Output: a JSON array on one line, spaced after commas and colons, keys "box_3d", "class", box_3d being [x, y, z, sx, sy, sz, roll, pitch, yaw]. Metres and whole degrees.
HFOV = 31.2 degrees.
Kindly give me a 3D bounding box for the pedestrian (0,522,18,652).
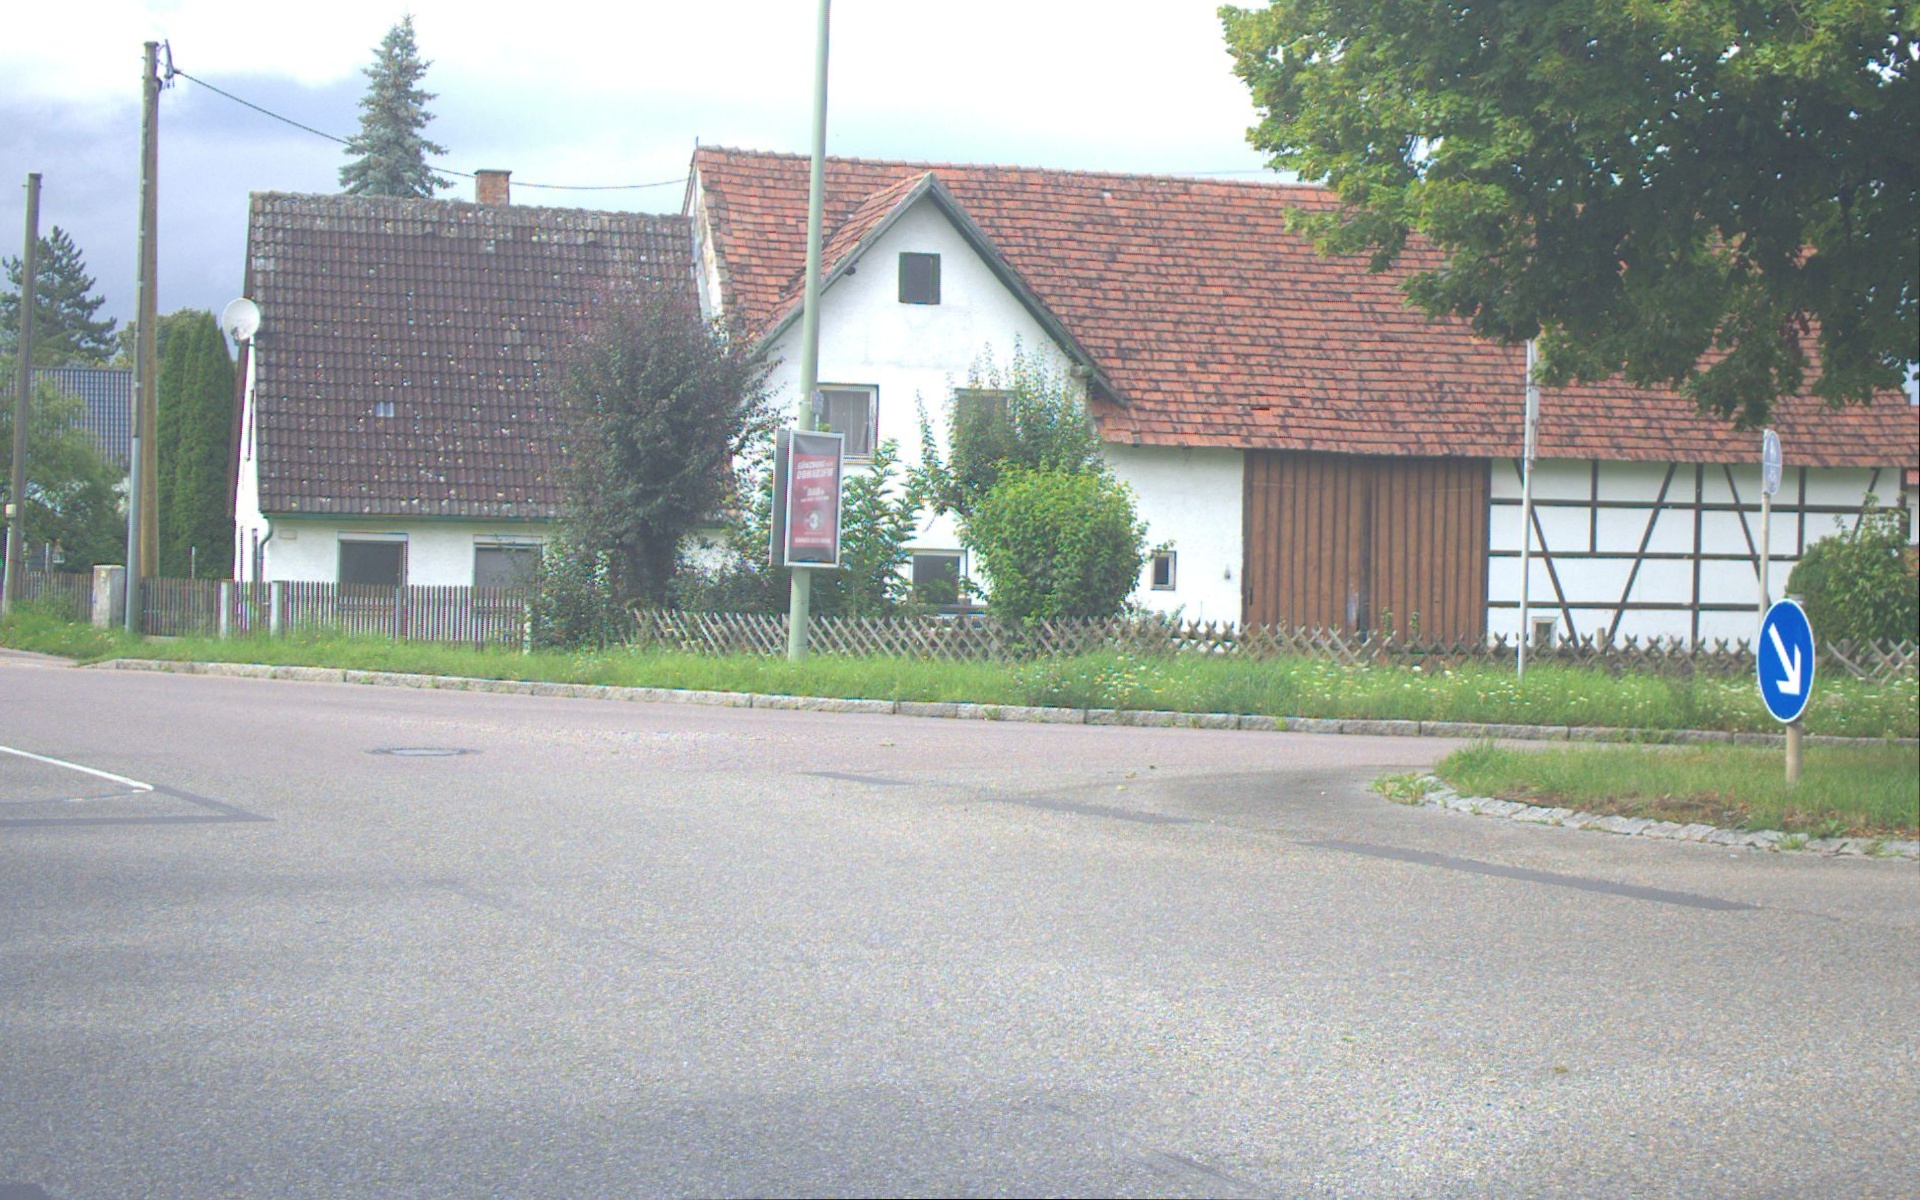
[{"box_3d": [-12.719, -0.206, 44.323, 0.788, 1.659, 0.712, 6, -2, -33], "class": "pedestrian"}]
